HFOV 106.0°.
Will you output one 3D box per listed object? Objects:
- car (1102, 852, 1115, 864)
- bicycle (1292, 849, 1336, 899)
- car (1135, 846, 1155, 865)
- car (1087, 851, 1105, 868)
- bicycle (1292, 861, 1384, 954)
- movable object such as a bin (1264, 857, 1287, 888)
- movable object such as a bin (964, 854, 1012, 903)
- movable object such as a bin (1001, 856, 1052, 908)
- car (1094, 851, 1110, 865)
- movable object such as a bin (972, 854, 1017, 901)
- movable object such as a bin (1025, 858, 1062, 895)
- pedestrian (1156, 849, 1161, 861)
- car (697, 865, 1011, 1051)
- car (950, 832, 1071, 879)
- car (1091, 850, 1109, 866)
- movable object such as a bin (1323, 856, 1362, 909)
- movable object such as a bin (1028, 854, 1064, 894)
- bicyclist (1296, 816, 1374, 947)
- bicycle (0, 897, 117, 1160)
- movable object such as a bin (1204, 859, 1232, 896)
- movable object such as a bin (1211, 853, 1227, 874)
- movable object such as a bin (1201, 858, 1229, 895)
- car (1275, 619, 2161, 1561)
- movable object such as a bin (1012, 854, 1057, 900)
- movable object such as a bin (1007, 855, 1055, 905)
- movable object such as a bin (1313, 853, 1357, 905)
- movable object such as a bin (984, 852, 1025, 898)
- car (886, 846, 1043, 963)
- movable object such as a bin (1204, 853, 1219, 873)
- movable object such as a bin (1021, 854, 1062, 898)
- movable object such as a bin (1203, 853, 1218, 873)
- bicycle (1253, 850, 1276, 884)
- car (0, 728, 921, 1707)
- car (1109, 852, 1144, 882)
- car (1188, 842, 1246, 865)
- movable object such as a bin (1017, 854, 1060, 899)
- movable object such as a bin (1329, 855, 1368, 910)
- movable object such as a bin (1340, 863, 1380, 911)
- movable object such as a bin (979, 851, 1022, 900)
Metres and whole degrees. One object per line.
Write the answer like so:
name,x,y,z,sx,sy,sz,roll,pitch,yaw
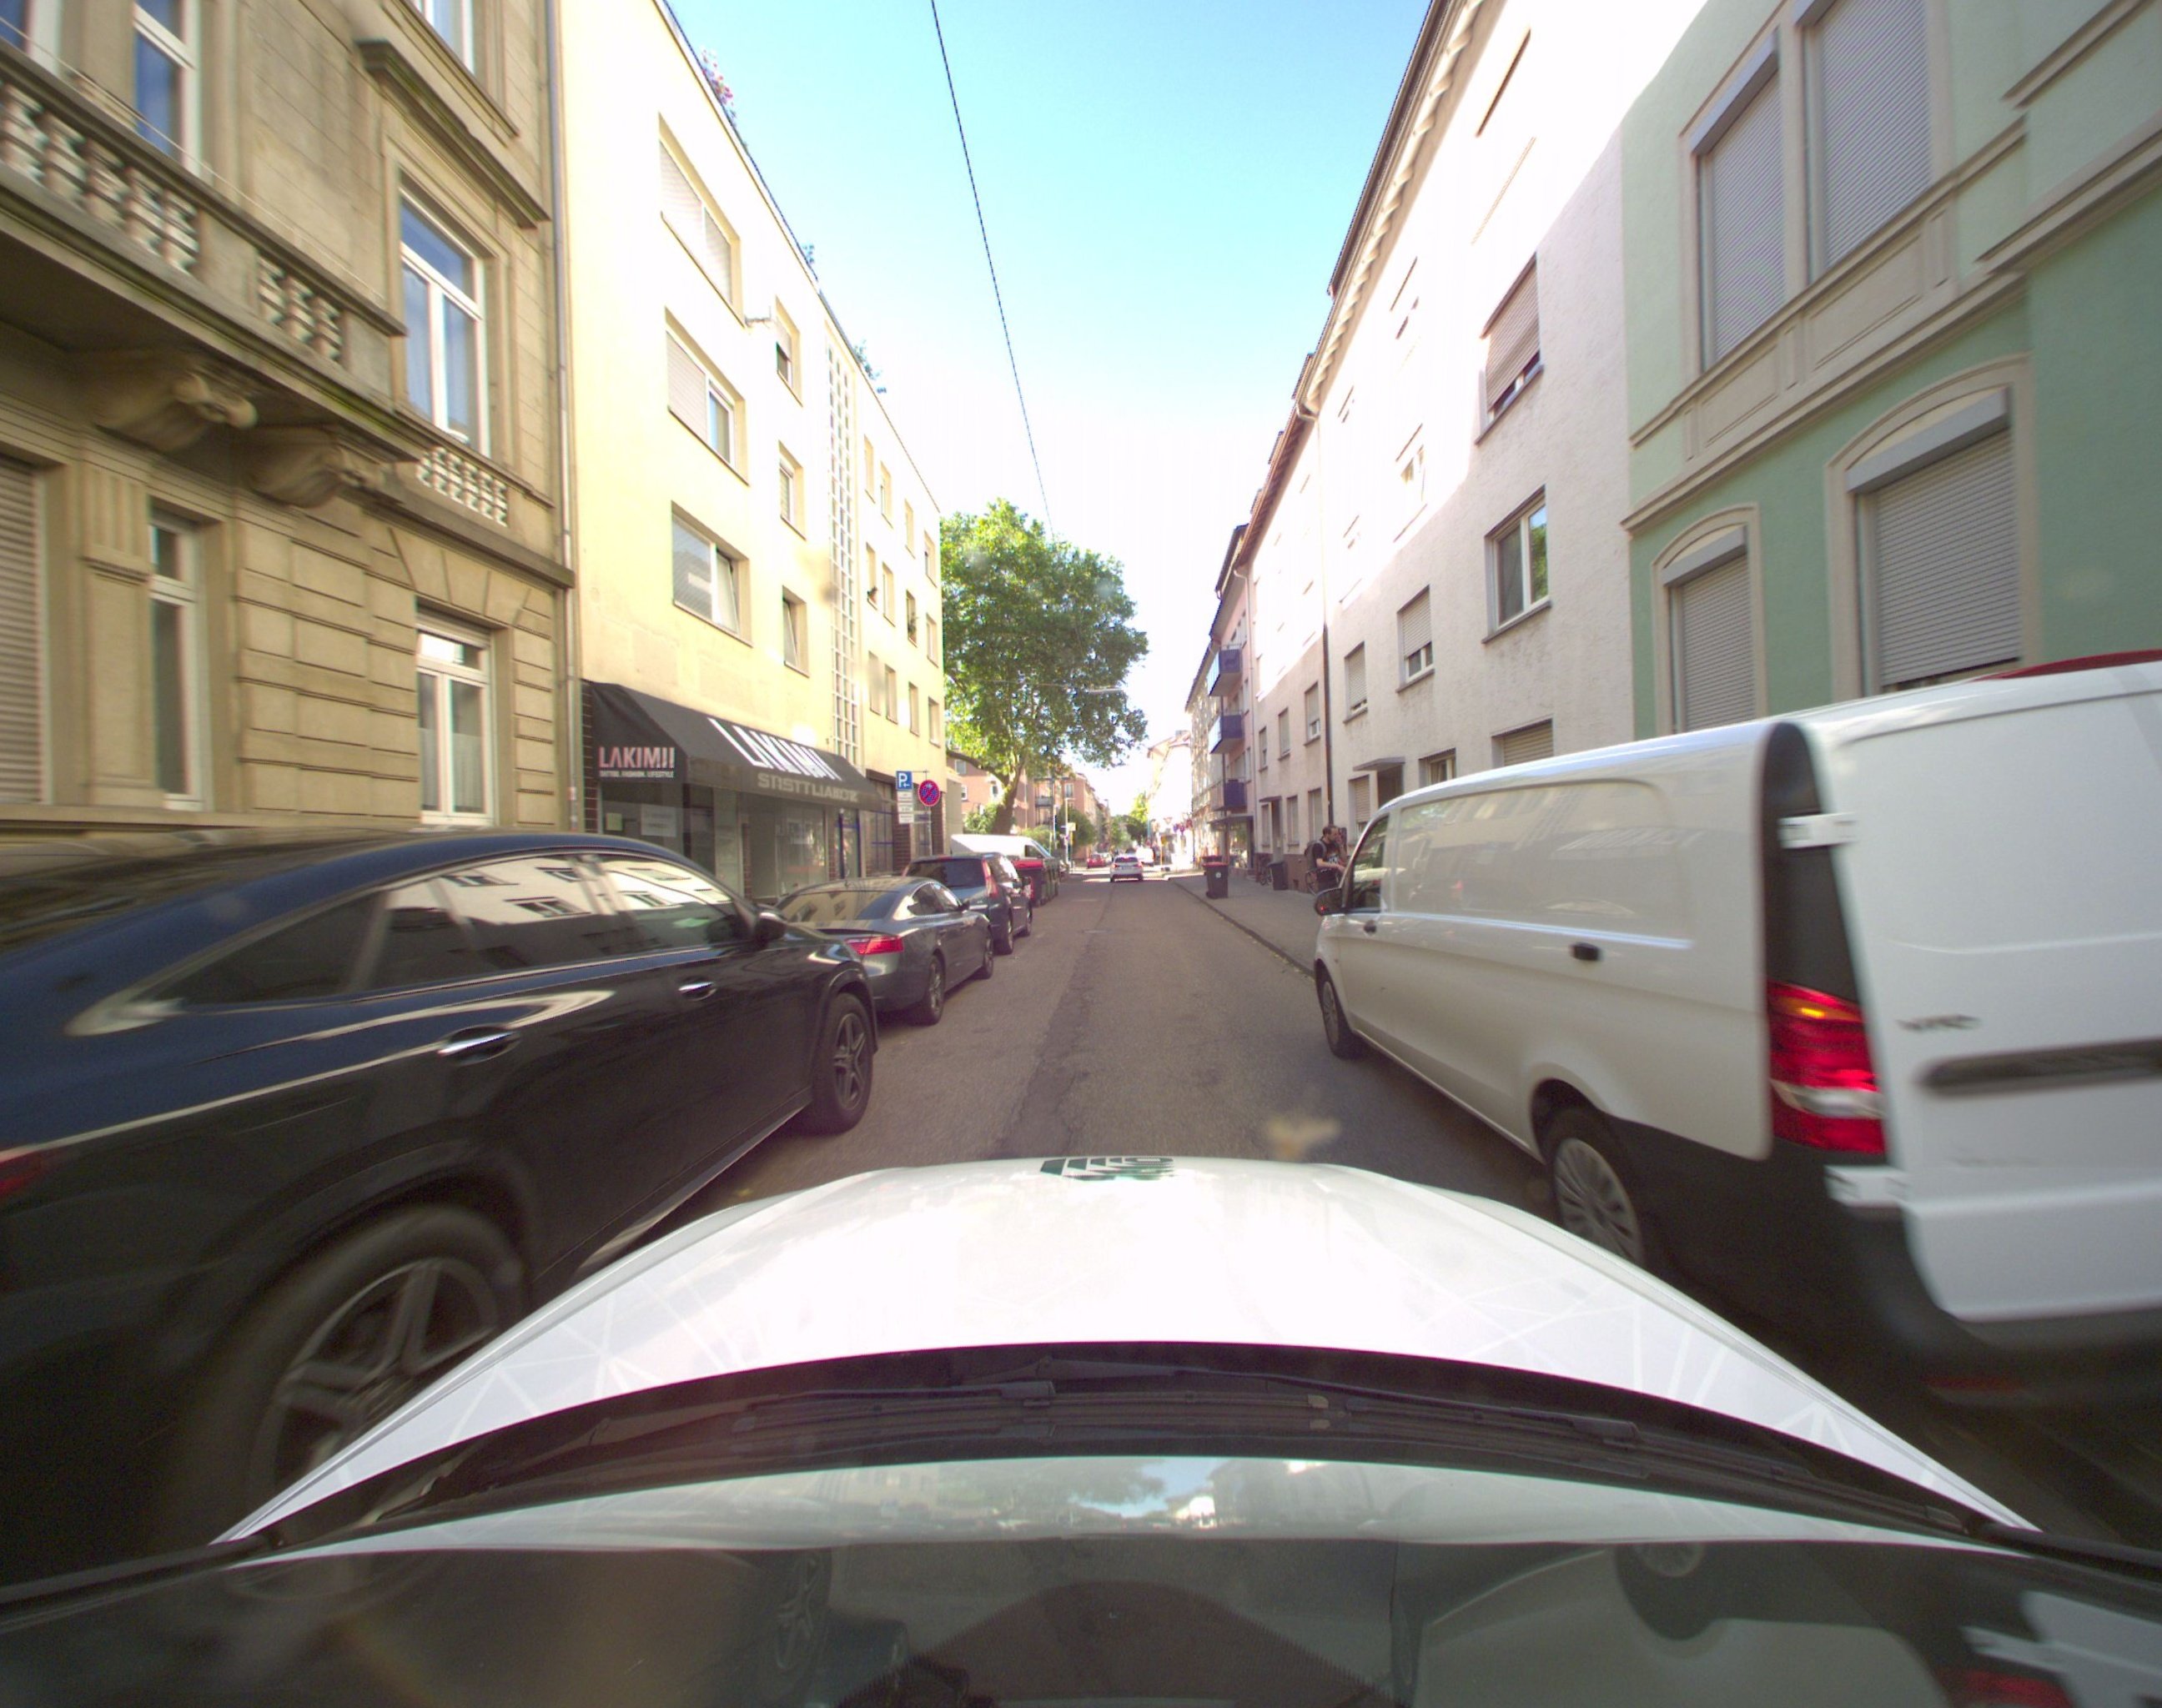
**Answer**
car,3.942,0.553,116.355,1.565,1.585,3.615,-2,-1,4
bicycle,6.002,0.485,21.078,0.534,1.170,2.078,-6,0,3
car,6.807,0.185,87.147,1.936,1.948,4.079,-1,0,1
car,1.574,0.524,84.185,1.762,1.588,3.729,-2,1,3
bicycle,3.653,0.715,11.760,0.661,1.136,1.989,-5,1,2
movable object such as a bin,6.199,0.590,25.957,0.595,0.951,0.683,-2,-1,4
movable object such as a bin,-2.969,0.762,26.035,1.300,1.499,1.158,-1,-1,3
movable object such as a bin,-1.650,0.837,24.803,1.314,1.450,1.188,-3,-1,3
car,2.436,0.470,95.279,1.628,1.656,3.789,-2,-1,4
movable object such as a bin,-2.853,0.769,27.109,1.296,1.522,1.019,-1,-1,3
movable object such as a bin,-1.371,0.838,30.215,1.236,1.322,1.046,-1,-1,3
pedestrian,10.735,0.126,113.428,0.615,1.733,0.560,-2,-1,2
car,-2.106,0.899,9.173,1.837,1.417,4.822,-4,-1,3
car,-4.085,0.112,47.633,6.707,2.555,2.148,1,-1,5
car,2.103,0.465,89.770,1.712,1.682,3.730,-2,0,4
movable object such as a bin,5.673,0.601,17.698,0.654,1.105,0.594,-2,0,4
movable object such as a bin,-1.336,0.755,31.315,1.296,1.451,1.117,-1,-1,0
bicyclist,3.646,0.376,11.755,0.757,1.770,0.823,-4,1,1
bicycle,-5.637,0.876,3.557,0.508,1.277,1.869,-2,-1,5
movable object such as a bin,4.094,0.703,24.374,0.729,1.081,0.704,-2,-1,4
movable object such as a bin,7.197,0.496,42.494,0.727,1.104,0.693,-2,-1,1
movable object such as a bin,4.129,0.689,25.088,0.764,1.086,0.694,-2,-1,4
car,2.647,0.419,4.456,1.975,1.883,5.604,-6,0,3
movable object such as a bin,-1.522,0.751,27.021,1.343,1.487,1.004,-1,-1,3
movable object such as a bin,-1.575,0.821,25.976,1.328,1.484,1.094,-3,-1,3
movable object such as a bin,5.693,0.550,18.294,0.735,1.097,0.640,-5,-1,4
movable object such as a bin,-2.719,0.740,29.174,1.283,1.604,1.083,-1,-1,3
car,-1.864,0.754,14.554,1.775,1.666,4.675,-3,0,4
movable object such as a bin,7.110,0.506,44.448,0.698,1.073,0.597,-2,-1,5
movable object such as a bin,-1.392,0.776,29.123,1.329,1.491,1.083,-1,-1,3
movable object such as a bin,7.149,0.502,45.079,0.742,1.086,0.635,-2,-1,5
bicycle,6.448,0.449,28.691,0.451,1.134,1.922,-4,-1,5
car,-2.321,0.730,3.374,1.928,1.736,5.147,-3,0,3
car,2.504,0.669,45.071,1.816,1.514,3.826,-2,0,3
car,12.577,0.003,75.511,4.843,1.929,2.012,-2,-2,28
movable object such as a bin,-1.440,0.761,28.055,1.337,1.499,1.019,-1,-1,3
movable object such as a bin,5.625,0.599,17.137,0.625,1.122,0.570,-2,-1,4
movable object such as a bin,5.653,0.656,16.501,0.603,0.934,0.605,-2,0,4
movable object such as a bin,-2.767,0.724,28.109,1.289,1.620,1.019,-1,-1,3
